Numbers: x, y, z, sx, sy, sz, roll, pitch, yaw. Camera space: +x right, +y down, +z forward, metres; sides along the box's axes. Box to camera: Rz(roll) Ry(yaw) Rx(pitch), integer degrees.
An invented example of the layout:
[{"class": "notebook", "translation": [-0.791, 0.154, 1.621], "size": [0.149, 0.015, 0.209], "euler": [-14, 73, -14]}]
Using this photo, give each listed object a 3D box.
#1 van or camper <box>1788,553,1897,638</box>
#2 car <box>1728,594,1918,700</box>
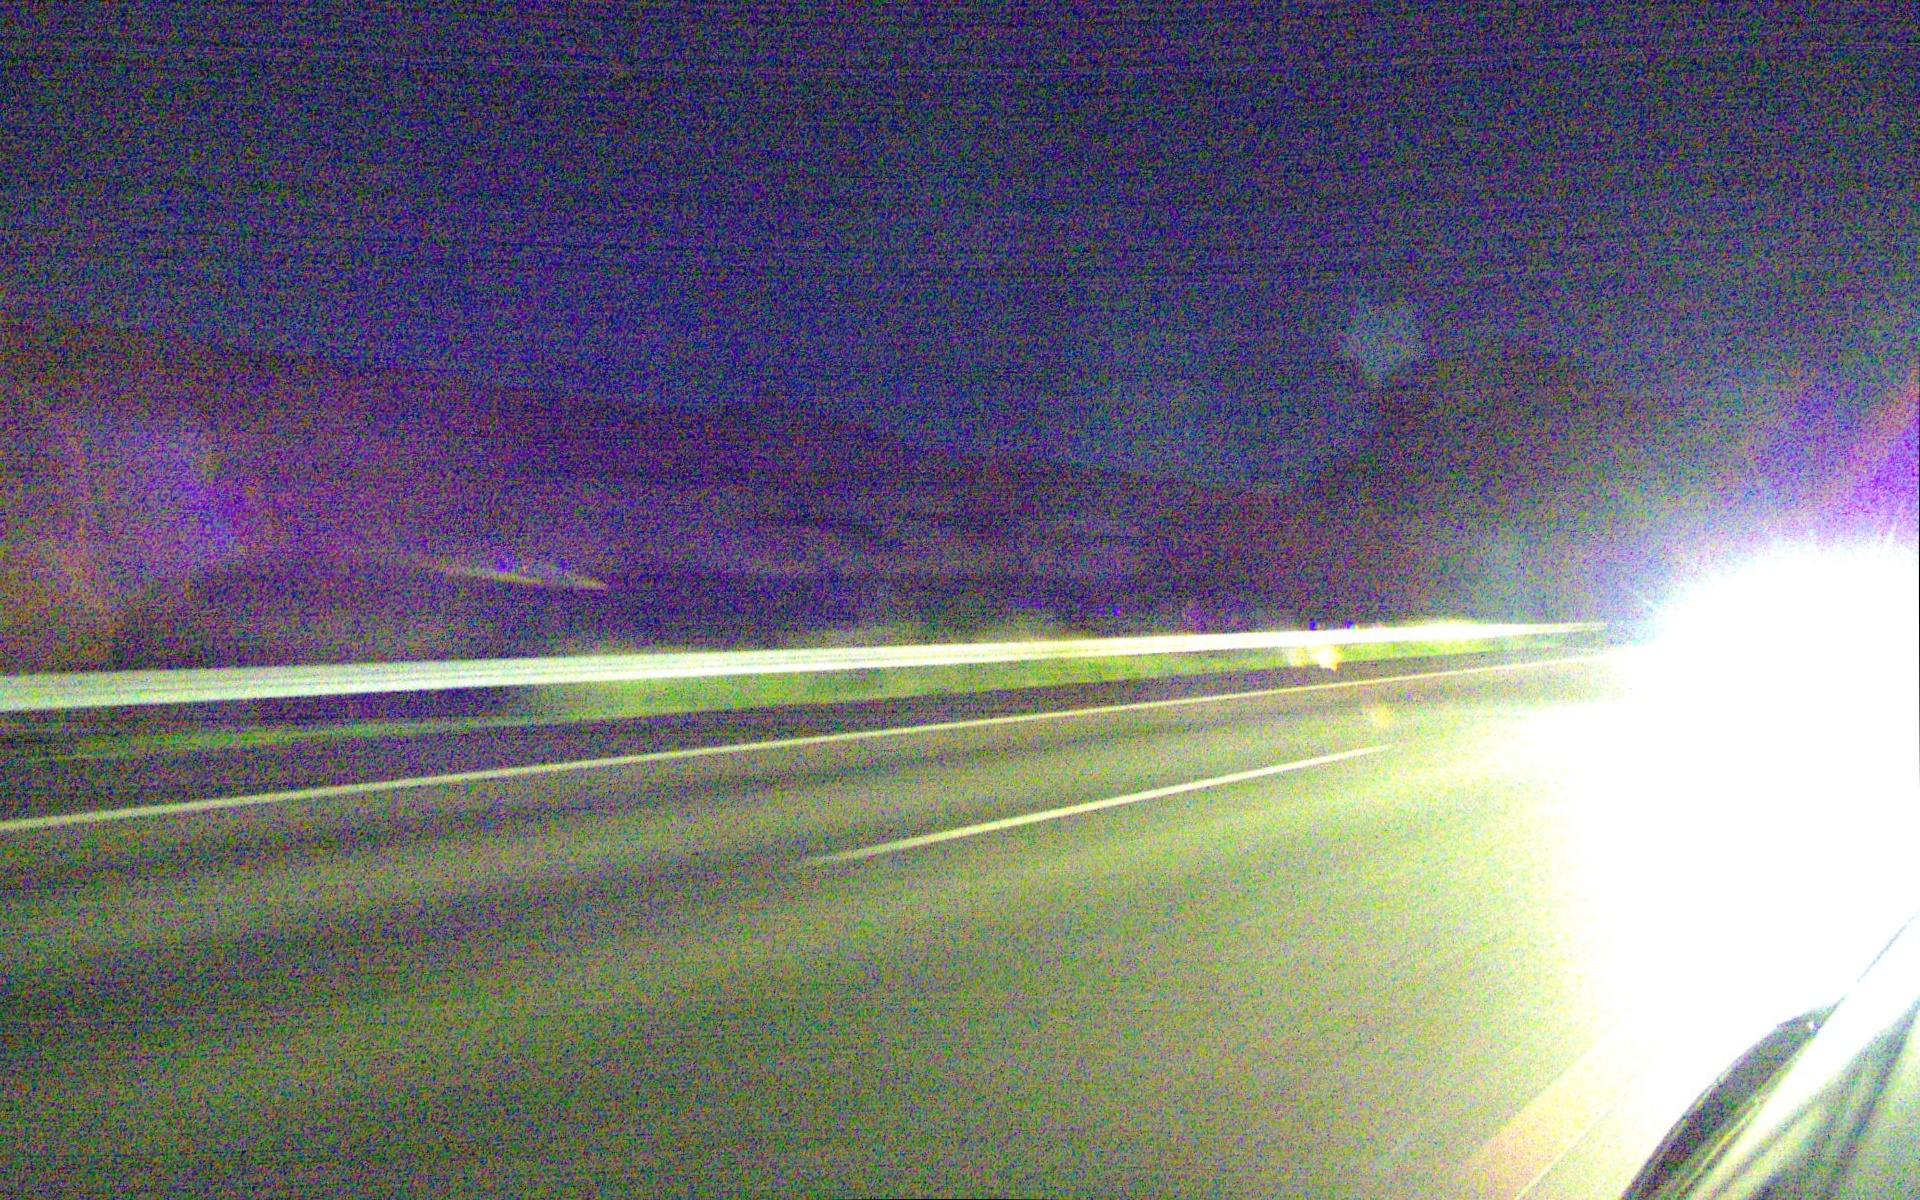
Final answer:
[{"class": "van or camper", "translation": [31.666, -0.155, 36.221], "size": [6.688, 2.807, 2.209], "euler": [0, 0, -43]}, {"class": "car", "translation": [13.584, 0.669, 15.847], "size": [4.151, 1.431, 1.689], "euler": [1, 0, -41]}]
